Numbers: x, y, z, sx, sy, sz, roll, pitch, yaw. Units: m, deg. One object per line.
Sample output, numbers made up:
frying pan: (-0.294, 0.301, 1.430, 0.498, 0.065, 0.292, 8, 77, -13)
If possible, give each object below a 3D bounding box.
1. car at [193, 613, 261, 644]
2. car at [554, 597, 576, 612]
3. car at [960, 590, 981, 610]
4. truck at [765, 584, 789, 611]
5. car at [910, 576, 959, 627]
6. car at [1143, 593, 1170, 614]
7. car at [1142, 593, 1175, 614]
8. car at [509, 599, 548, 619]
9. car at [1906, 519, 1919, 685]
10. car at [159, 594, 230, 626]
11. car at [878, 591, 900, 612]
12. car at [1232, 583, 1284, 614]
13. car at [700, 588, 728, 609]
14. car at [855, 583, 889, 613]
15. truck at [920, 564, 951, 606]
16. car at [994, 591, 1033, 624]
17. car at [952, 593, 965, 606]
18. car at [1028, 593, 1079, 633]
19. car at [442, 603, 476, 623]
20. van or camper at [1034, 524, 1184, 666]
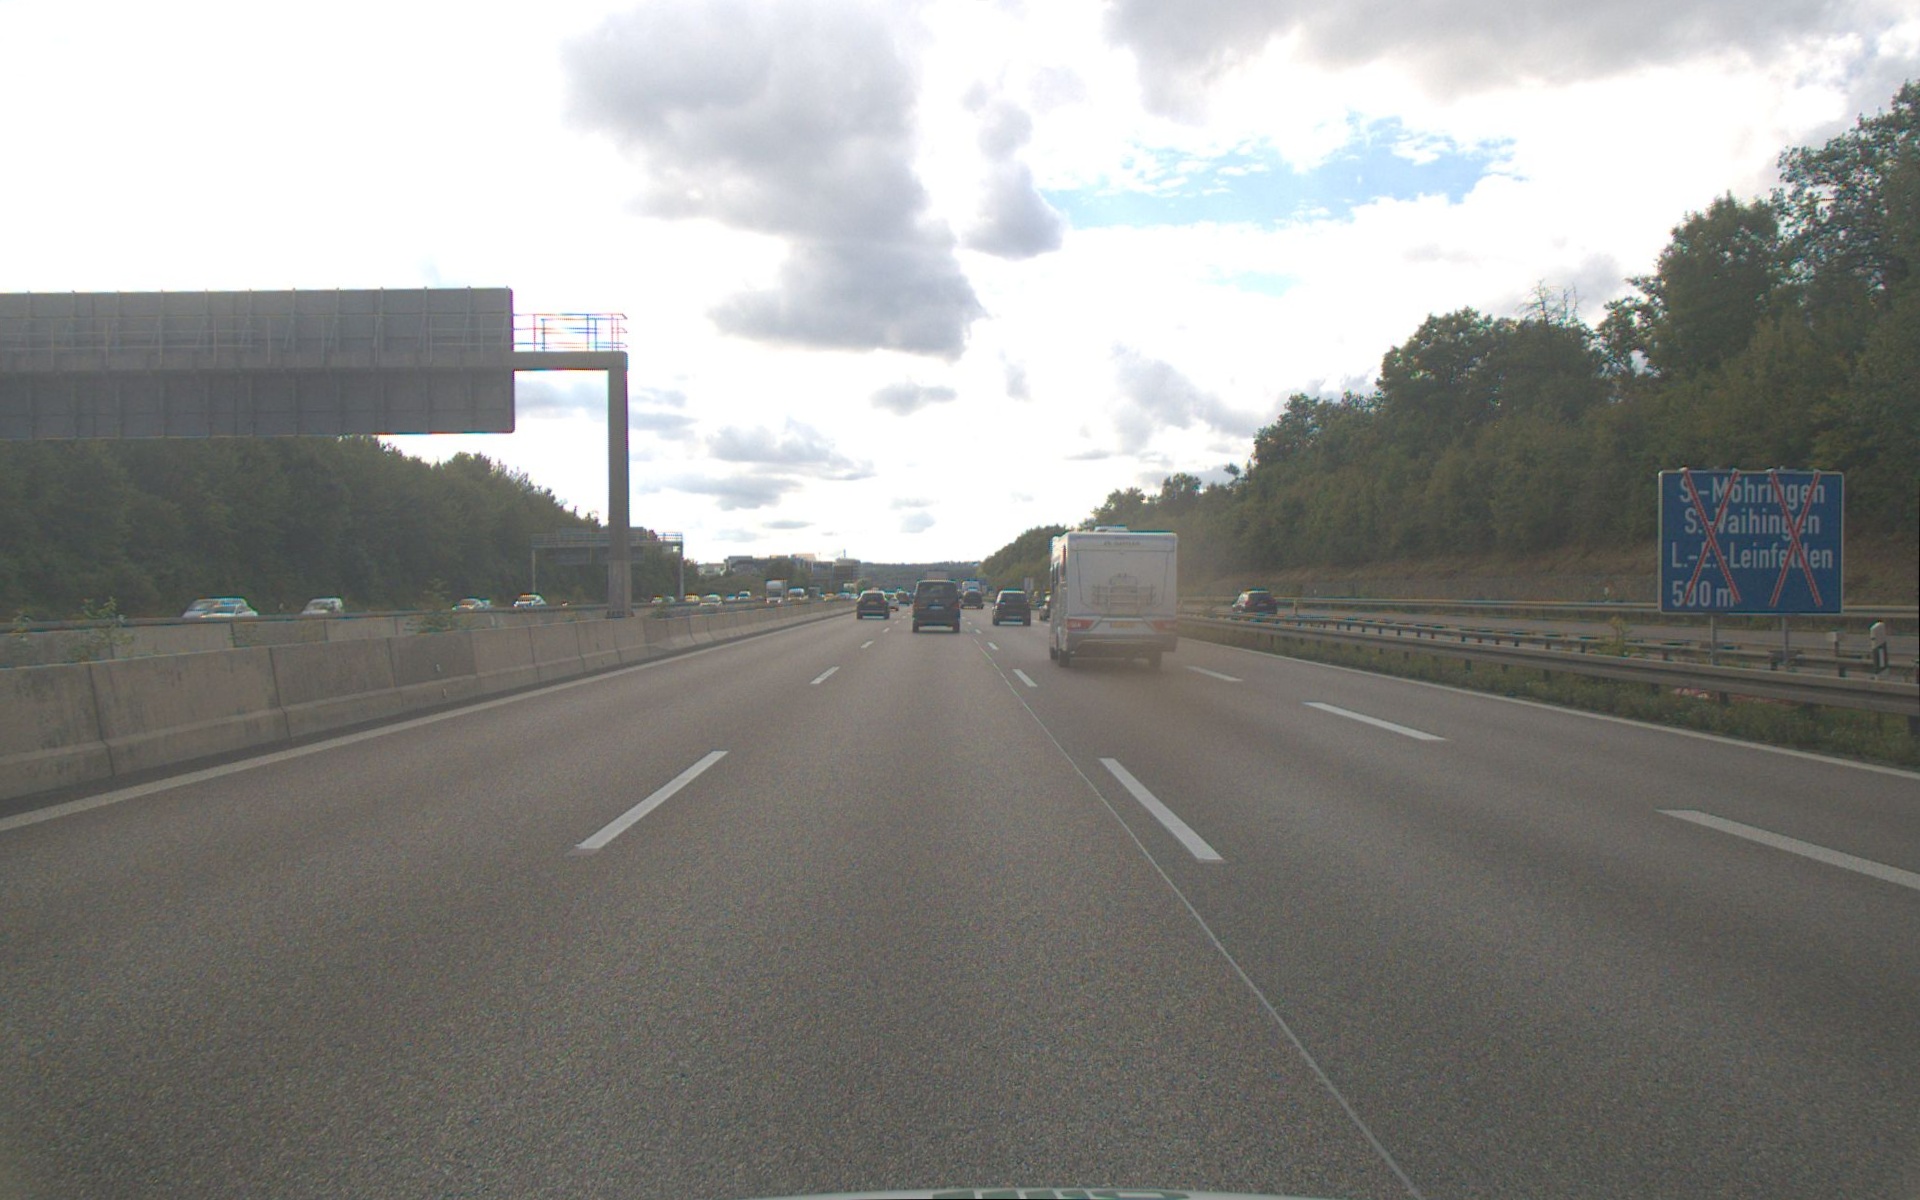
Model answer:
car: (-37.701, 1.449, 85.170, 1.624, 1.469, 4.322, -1, 0, -2)
car: (-43.597, 0.480, 182.720, 1.560, 1.520, 4.179, -1, 0, -2)
car: (1.006, 0.013, 160.151, 1.874, 1.952, 4.029, 0, 0, -1)
truck: (-23.278, -0.298, 210.878, 2.306, 3.321, 7.823, 0, 0, -1)
car: (-1.008, 0.058, 64.692, 1.817, 1.944, 4.259, 0, 0, -1)
car: (14.828, 0.227, 124.925, 1.509, 1.510, 3.941, -2, 0, -1)
car: (15.016, 0.275, 125.344, 1.806, 1.510, 4.523, -2, 0, -2)
car: (-35.463, 0.741, 136.079, 1.953, 1.620, 4.767, -1, 0, 0)
car: (16.057, 0.033, 22.824, 2.028, 2.599, 6.741, -1, 0, -1)
car: (-41.968, 0.535, 90.804, 1.700, 1.662, 4.945, -1, 0, -2)
car: (-5.581, 0.097, 130.431, 1.663, 1.639, 4.112, 0, 0, -2)
car: (15.611, -0.106, 86.881, 1.806, 1.510, 4.525, -2, 0, -1)
car: (-22.222, -0.154, 149.418, 1.797, 1.817, 5.501, -1, 0, -2)
car: (-5.004, -0.107, 94.554, 1.835, 1.728, 4.071, 0, 0, -1)
truck: (-2.735, -1.593, 183.361, 3.197, 4.451, 11.023, 1, 0, -1)
car: (2.584, 0.358, 80.324, 1.663, 1.592, 4.112, 0, 0, -2)
car: (-0.207, -0.055, 215.975, 1.716, 1.725, 4.189, 0, 0, -1)
car: (3.630, 0.493, 64.782, 1.686, 1.505, 4.390, 0, 0, -1)
car: (-38.465, 0.960, 127.096, 1.472, 1.452, 4.107, -1, 0, -2)
van or camper: (3.108, -0.107, 36.324, 2.419, 2.769, 7.659, 1, 0, -1)
